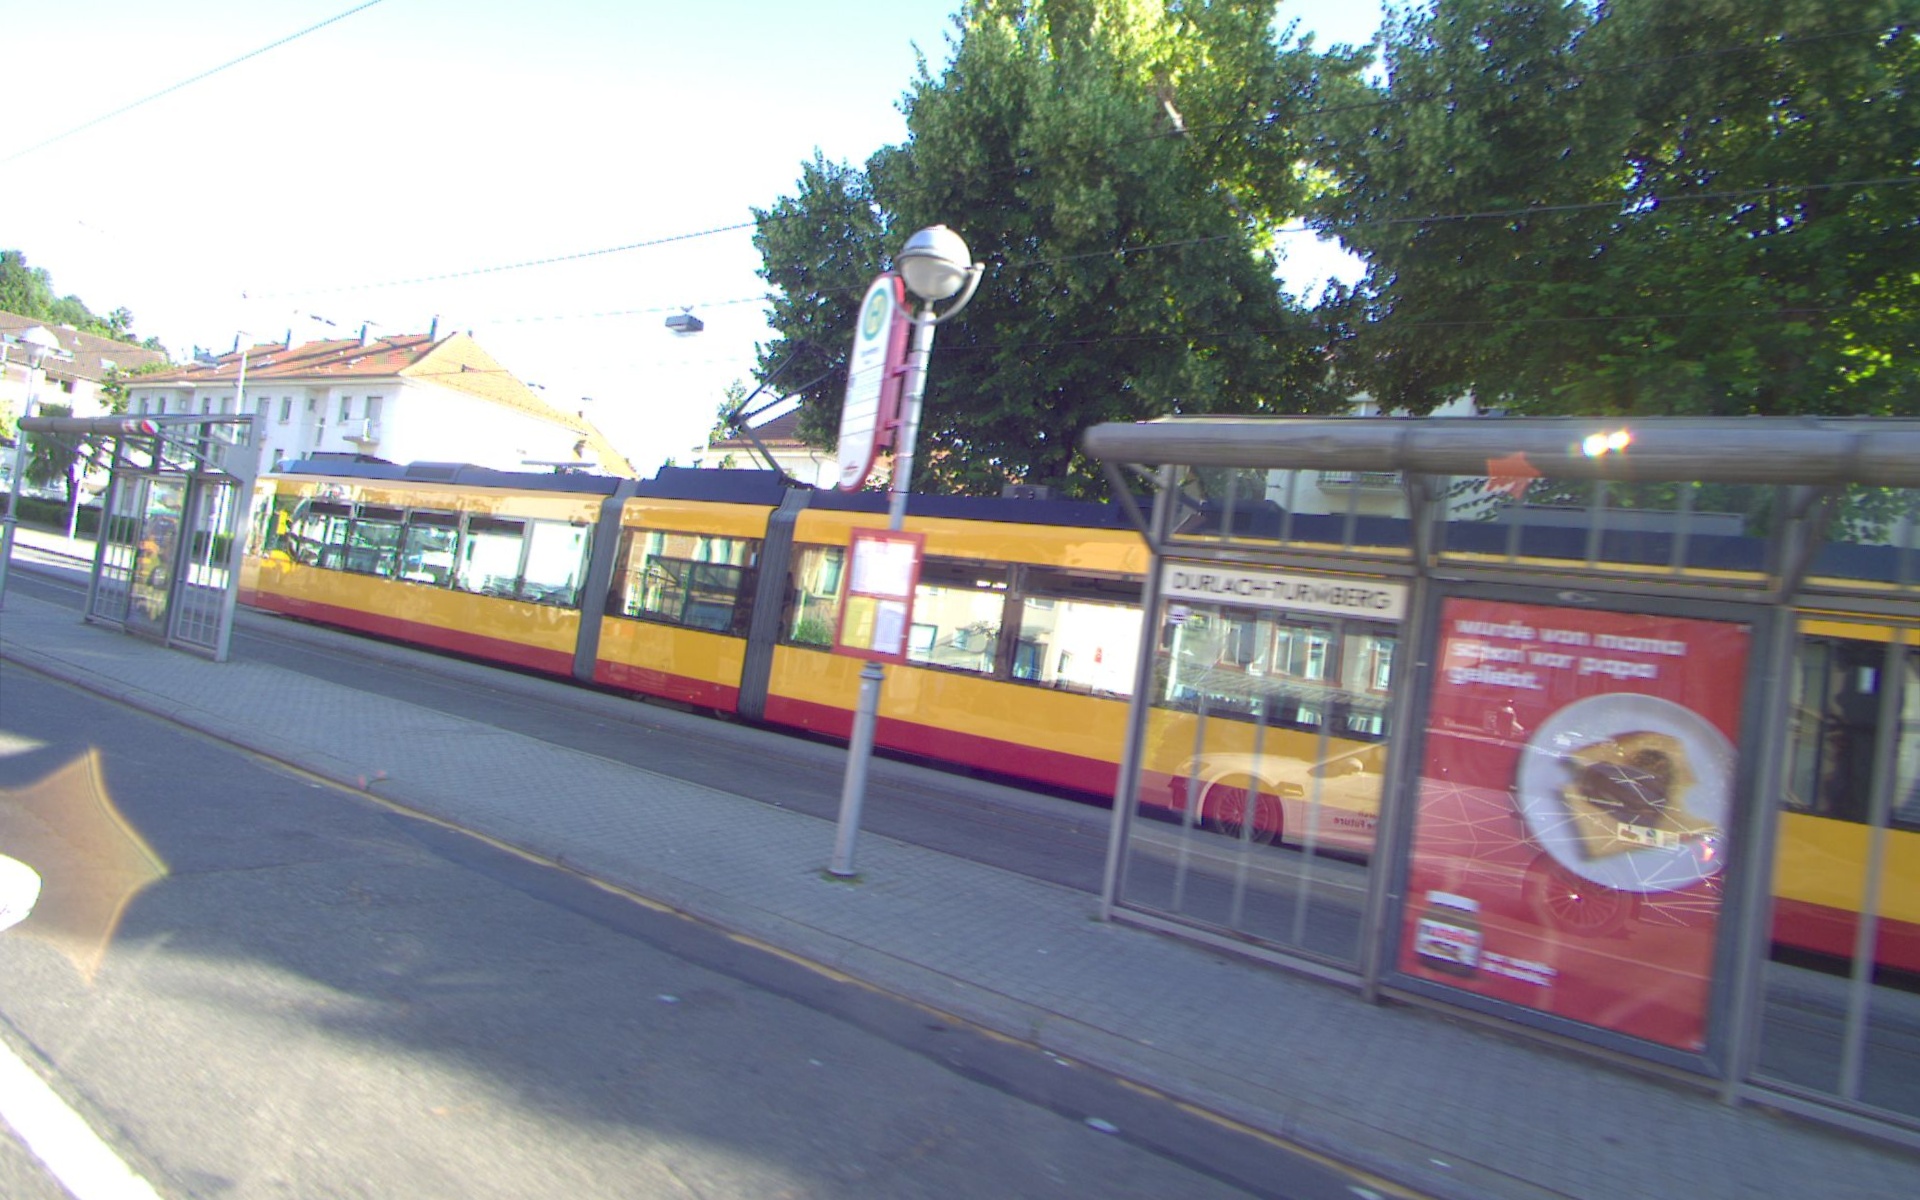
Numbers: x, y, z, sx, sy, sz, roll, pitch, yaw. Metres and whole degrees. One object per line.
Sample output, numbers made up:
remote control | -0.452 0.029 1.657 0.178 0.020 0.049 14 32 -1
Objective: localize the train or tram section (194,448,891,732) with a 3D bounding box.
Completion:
train or tram section | -8.664 -0.614 18.457 15.707 3.575 2.962 6 -2 32

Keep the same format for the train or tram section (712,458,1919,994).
train or tram section | 3.321 0.645 10.902 13.242 3.575 2.962 6 -2 32
